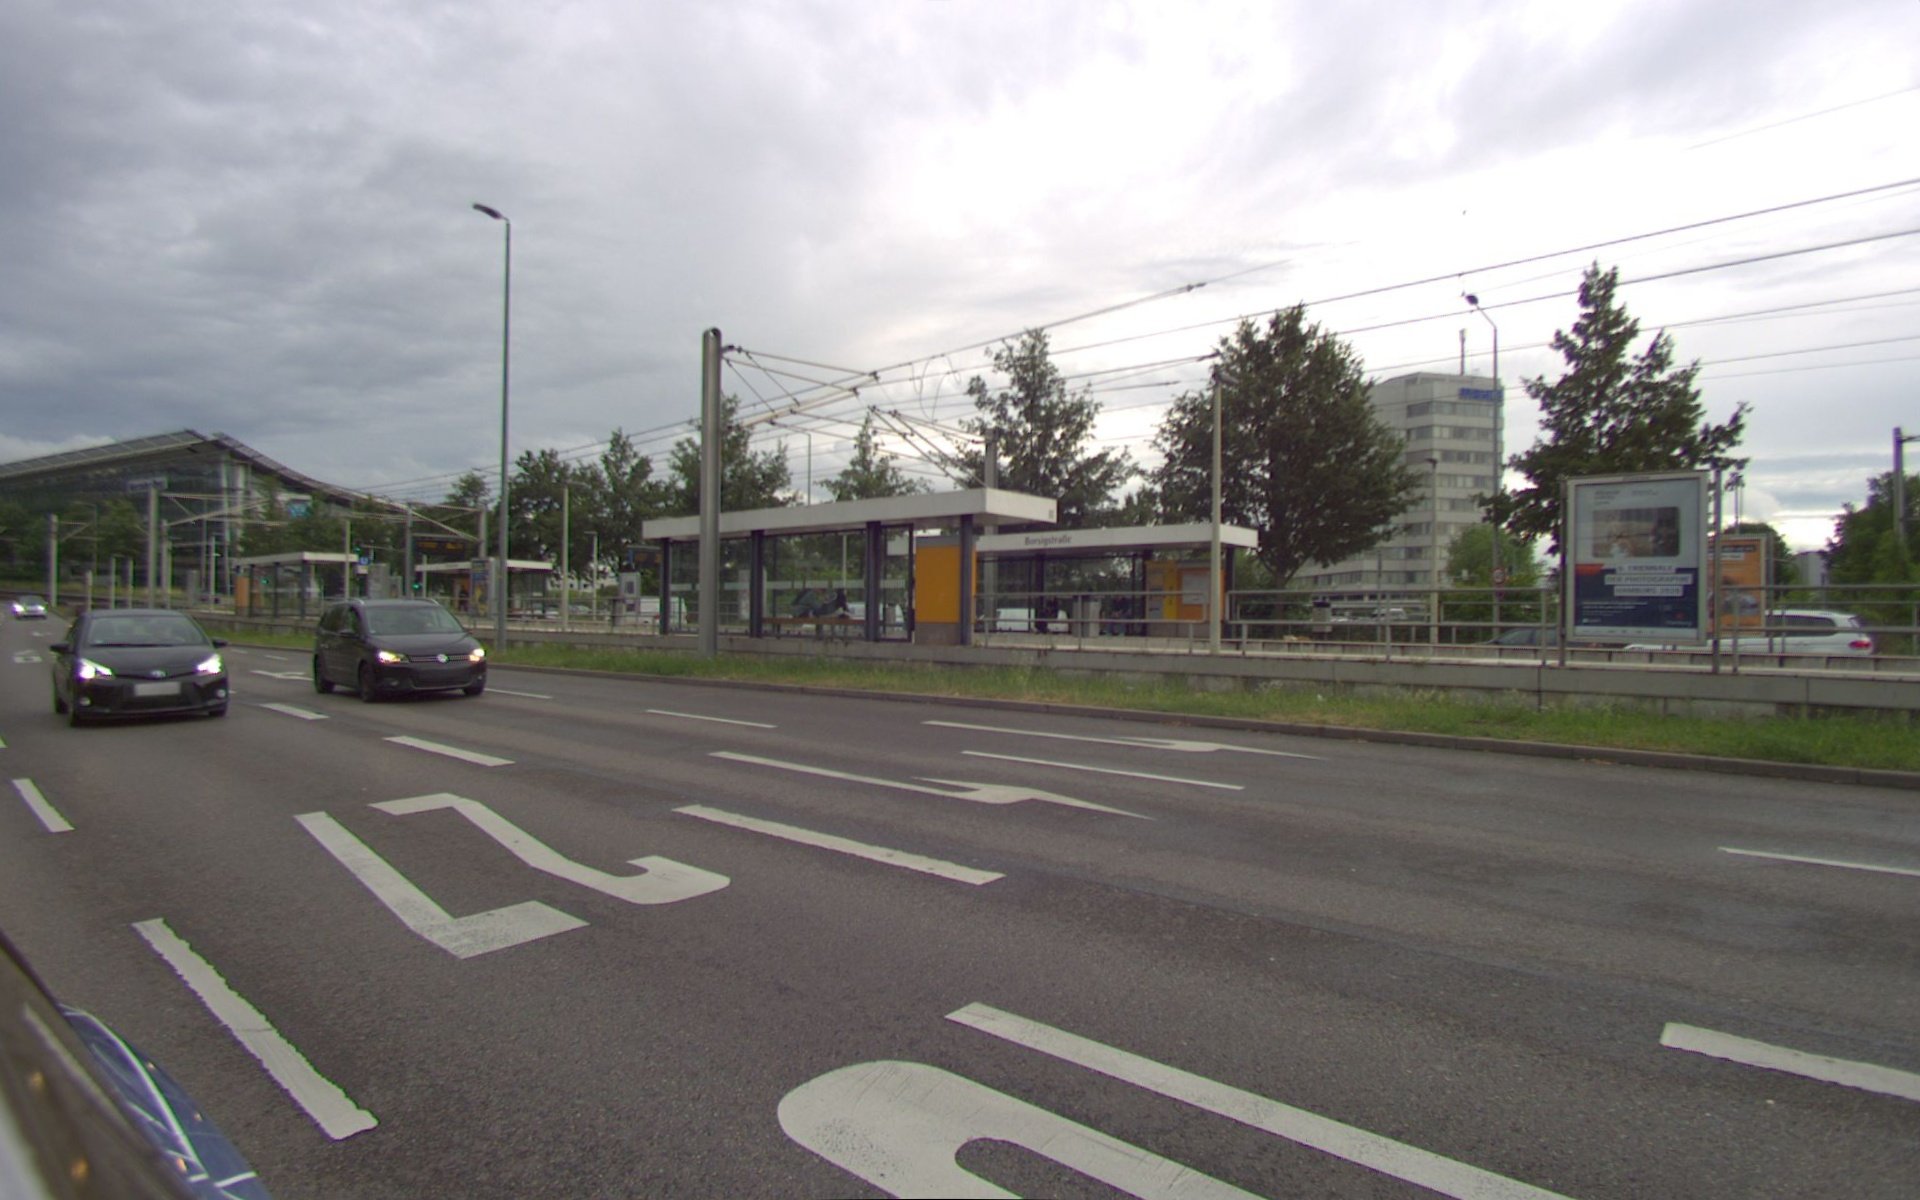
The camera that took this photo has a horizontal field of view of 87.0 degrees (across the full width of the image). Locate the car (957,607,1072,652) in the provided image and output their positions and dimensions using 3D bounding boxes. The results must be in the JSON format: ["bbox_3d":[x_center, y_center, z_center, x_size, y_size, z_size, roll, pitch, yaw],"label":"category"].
[{"bbox_3d":[2.274,1.190,43.186,4.665,1.712,2.082,1,1,42],"label":"car"}]

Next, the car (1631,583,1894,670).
[{"bbox_3d":[16.942,0.490,21.573,4.266,1.679,1.512,1,1,41],"label":"car"}]

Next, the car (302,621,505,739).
[{"bbox_3d":[-9.443,1.230,17.030,4.192,1.604,1.708,1,1,42],"label":"car"}]

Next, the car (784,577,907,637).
[{"bbox_3d":[-4.613,0.216,40.317,5.143,2.231,1.972,1,1,42],"label":"car"}]

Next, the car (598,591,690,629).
[{"bbox_3d":[-15.758,0.467,50.396,5.026,1.744,1.974,1,1,40],"label":"car"}]

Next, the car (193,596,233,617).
[{"bbox_3d":[-68.854,0.610,93.273,3.994,1.861,1.975,0,1,38],"label":"car"}]

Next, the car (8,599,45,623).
[{"bbox_3d":[-62.098,0.728,67.287,1.715,1.489,4.003,-1,0,-44],"label":"car"}]

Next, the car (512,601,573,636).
[{"bbox_3d":[-26.224,1.109,63.474,3.999,2.029,1.973,1,1,41],"label":"car"}]

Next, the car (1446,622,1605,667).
[{"bbox_3d":[16.762,1.278,30.079,3.931,1.139,1.511,1,1,40],"label":"car"}]

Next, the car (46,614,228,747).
[{"bbox_3d":[-11.683,1.003,14.268,1.673,1.534,3.908,-1,1,-44],"label":"car"}]

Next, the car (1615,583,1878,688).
[{"bbox_3d":[16.829,0.668,21.860,4.344,2.029,1.755,1,1,40],"label":"car"}]
